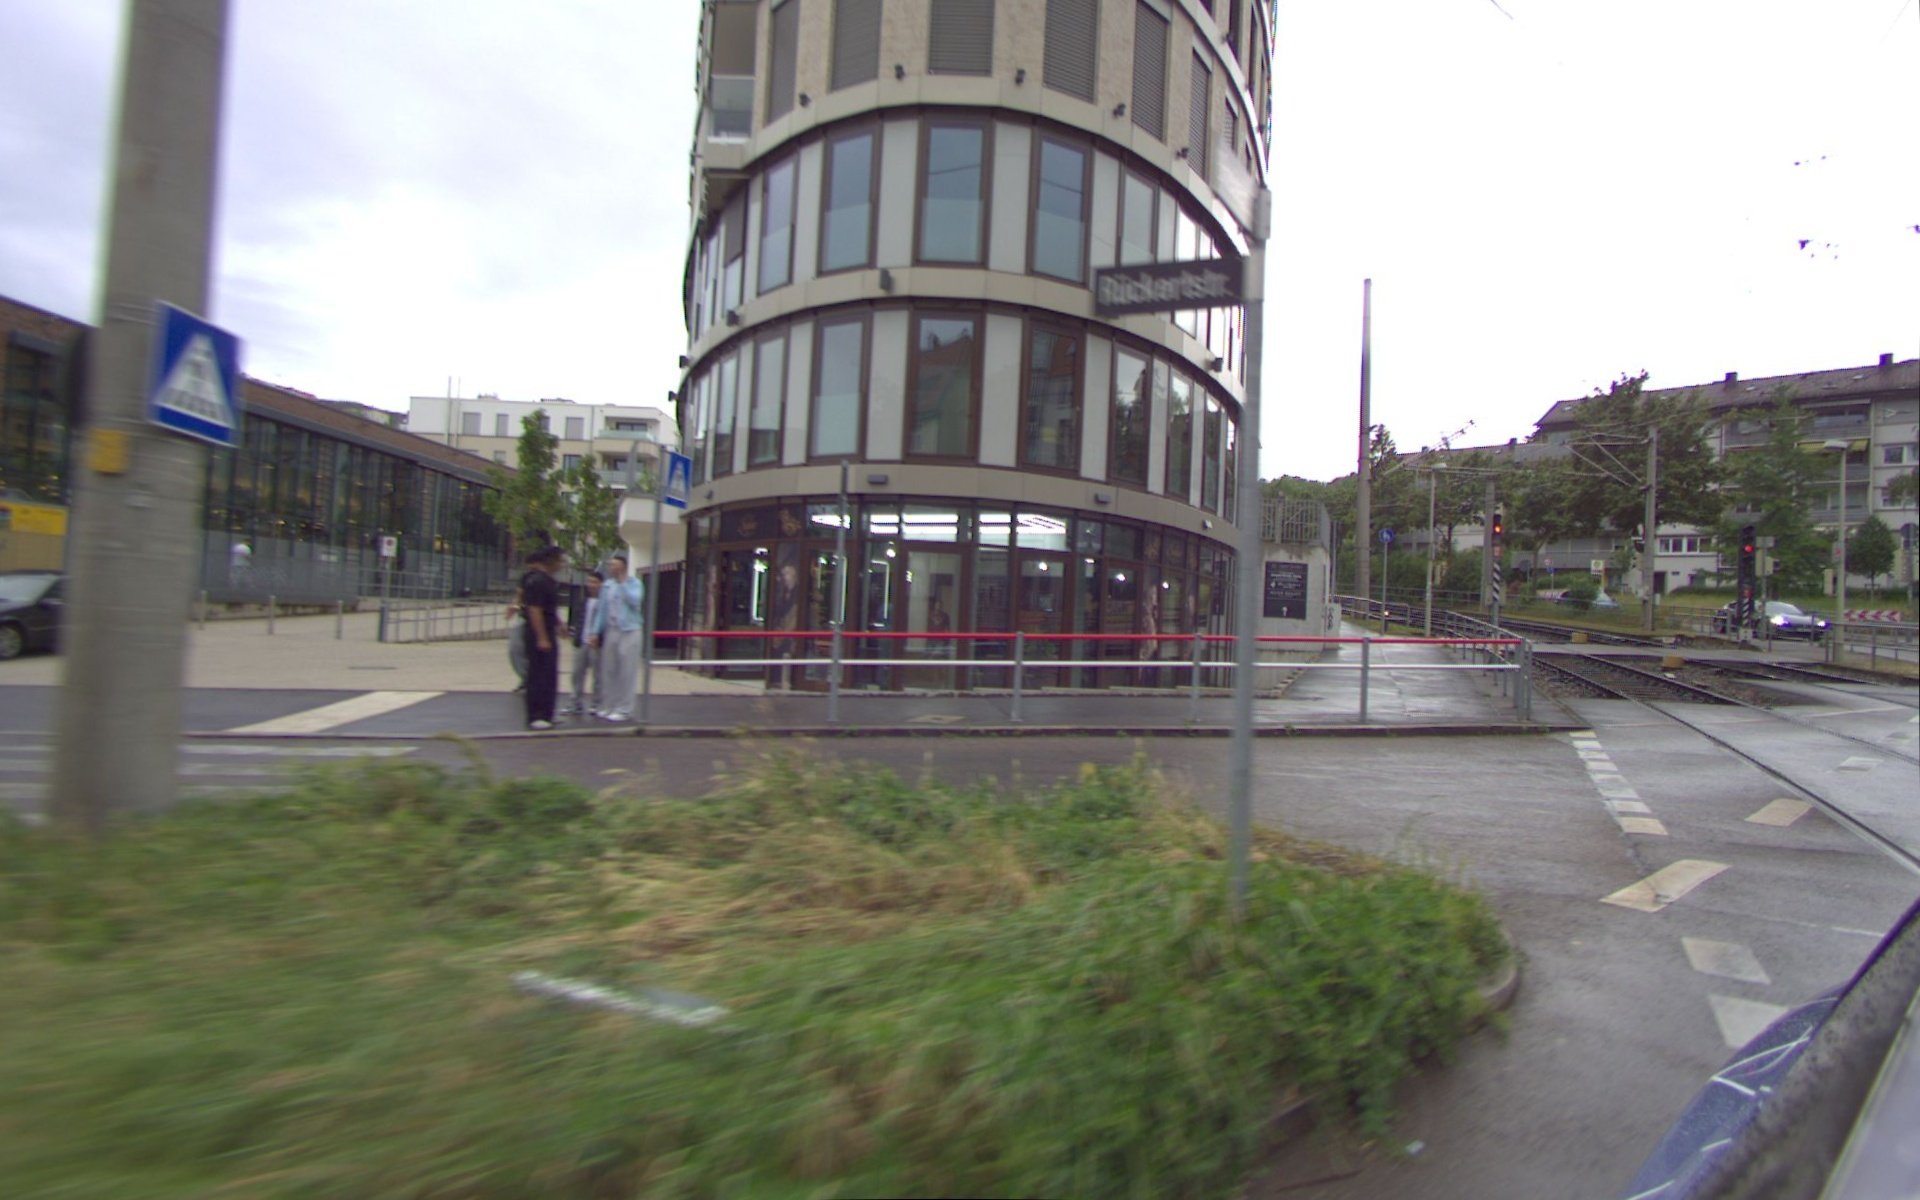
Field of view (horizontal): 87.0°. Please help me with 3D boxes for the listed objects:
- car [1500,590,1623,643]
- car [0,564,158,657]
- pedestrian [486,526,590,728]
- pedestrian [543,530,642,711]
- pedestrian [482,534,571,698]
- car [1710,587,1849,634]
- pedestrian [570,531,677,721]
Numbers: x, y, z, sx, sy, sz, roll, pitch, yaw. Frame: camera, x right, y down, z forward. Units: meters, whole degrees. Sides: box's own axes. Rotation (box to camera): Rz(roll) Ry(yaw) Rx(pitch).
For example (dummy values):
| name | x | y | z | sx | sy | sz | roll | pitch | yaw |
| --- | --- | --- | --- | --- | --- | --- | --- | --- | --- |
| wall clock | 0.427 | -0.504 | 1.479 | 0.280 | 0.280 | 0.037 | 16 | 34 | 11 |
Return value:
| name | x | y | z | sx | sy | sz | roll | pitch | yaw |
| --- | --- | --- | --- | --- | --- | --- | --- | --- | --- |
| car | 17.464 | 0.432 | 29.339 | 3.932 | 1.380 | 1.996 | 0 | 2 | -42 |
| car | -16.458 | 0.113 | 17.714 | 1.960 | 1.375 | 4.006 | 2 | 2 | -6 |
| pedestrian | -4.465 | 0.250 | 10.718 | 0.680 | 2.038 | 0.777 | 3 | 4 | 34 |
| pedestrian | -4.316 | 0.218 | 11.901 | 0.591 | 2.038 | 0.878 | 3 | 2 | 42 |
| pedestrian | -5.609 | 0.189 | 13.107 | 0.591 | 2.039 | 0.878 | 1 | 1 | 42 |
| car | 30.468 | 0.339 | 37.812 | 1.780 | 1.636 | 4.302 | 1 | 1 | 3 |
| pedestrian | -3.784 | 0.265 | 11.409 | 0.653 | 2.038 | 0.881 | 3 | 2 | 33 |
